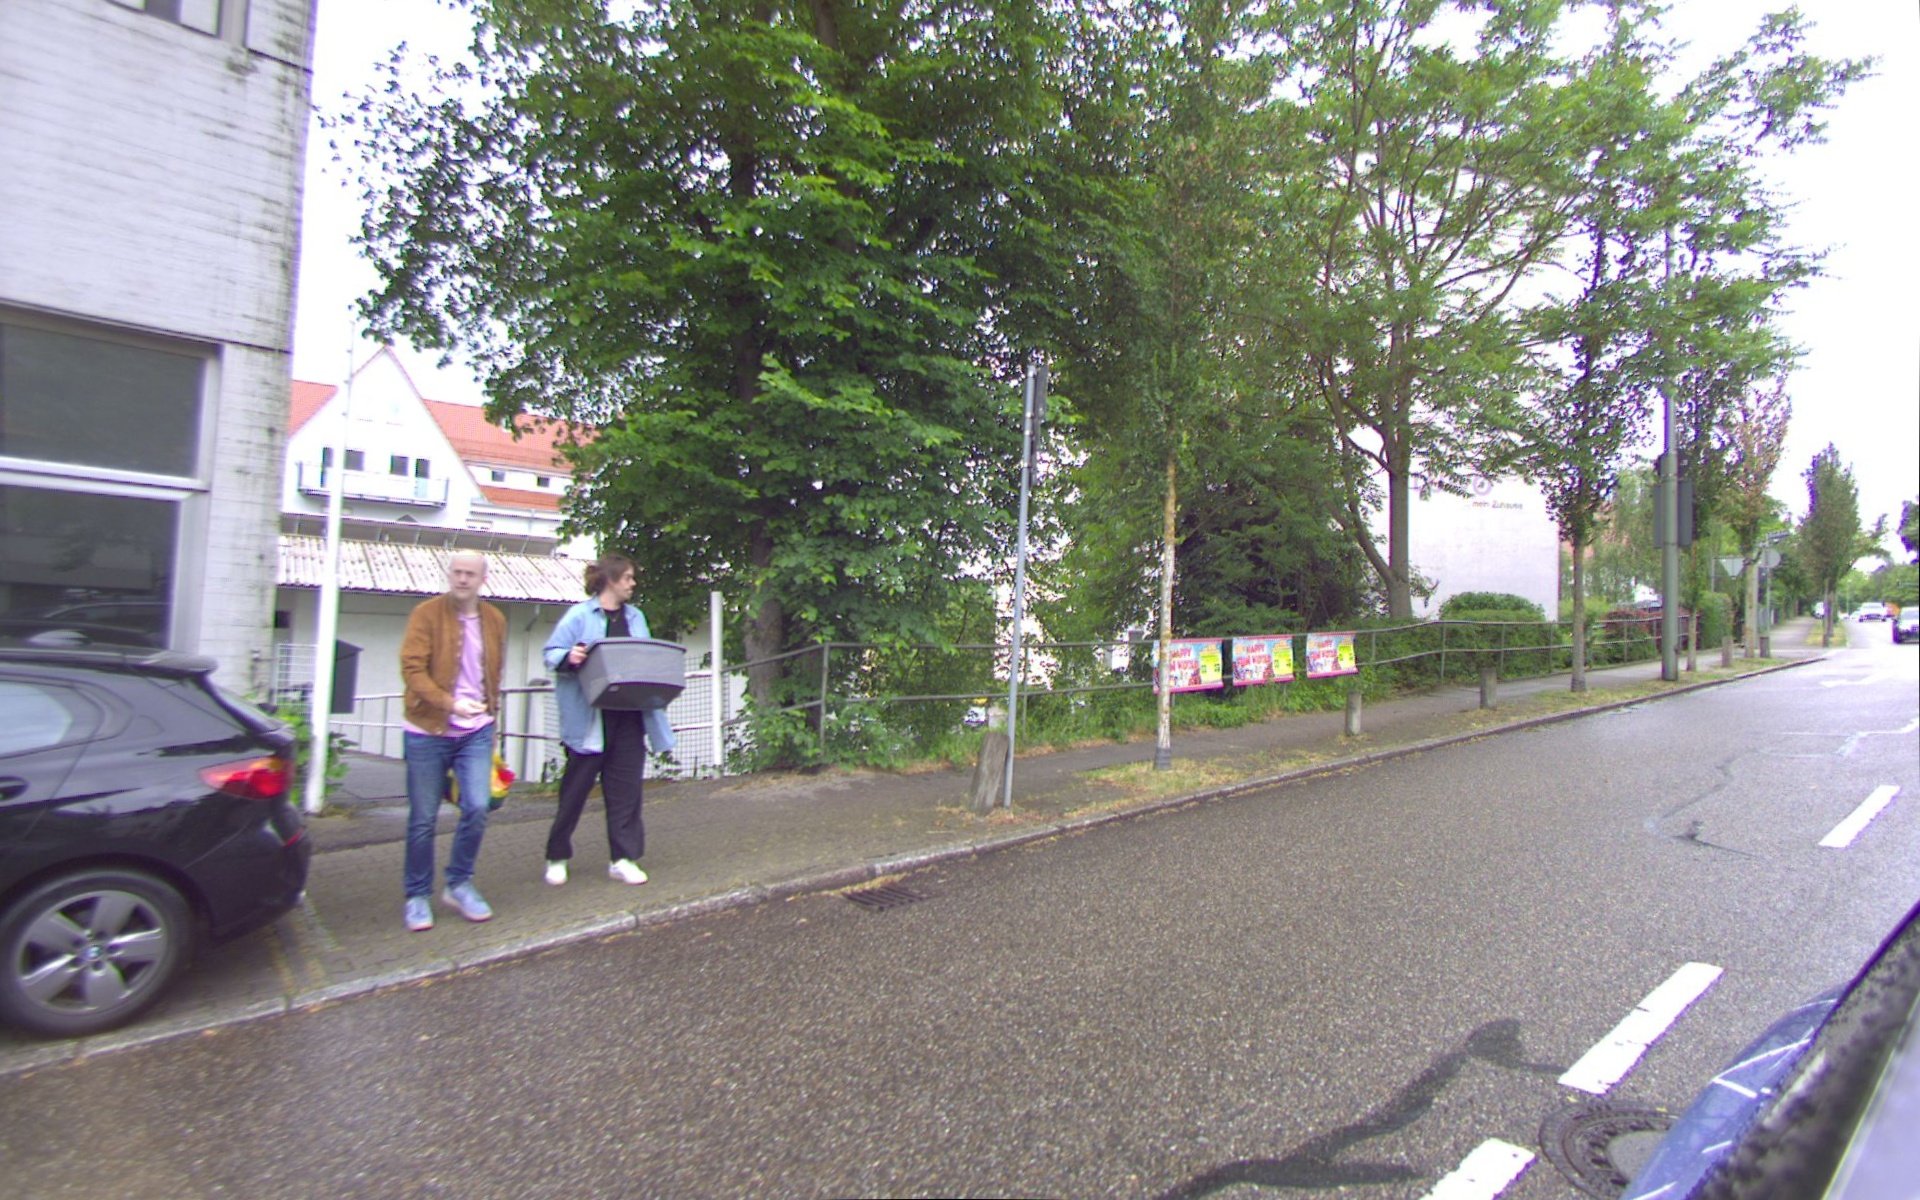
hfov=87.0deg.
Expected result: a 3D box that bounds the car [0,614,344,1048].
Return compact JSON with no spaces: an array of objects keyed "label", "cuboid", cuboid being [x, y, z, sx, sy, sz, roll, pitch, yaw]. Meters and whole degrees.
[{"label":"car","cuboid":[-4.825,0.821,3.457,4.368,1.453,1.996,0,0,-43]}]

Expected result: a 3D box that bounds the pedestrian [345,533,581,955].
[{"label":"pedestrian","cuboid":[-2.475,0.615,5.004,0.810,1.805,1.072,0,-1,-40]}]

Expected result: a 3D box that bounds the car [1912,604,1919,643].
[{"label":"car","cuboid":[44.964,1.065,46.240,4.220,1.638,1.832,-1,1,-42]}]

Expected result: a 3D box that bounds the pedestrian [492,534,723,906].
[{"label":"pedestrian","cuboid":[-1.959,0.586,5.590,0.811,1.805,1.070,0,-1,-45]}]

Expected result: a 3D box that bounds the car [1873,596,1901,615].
[{"label":"car","cuboid":[82.198,0.457,89.722,1.829,1.638,4.283,0,1,43]}]
